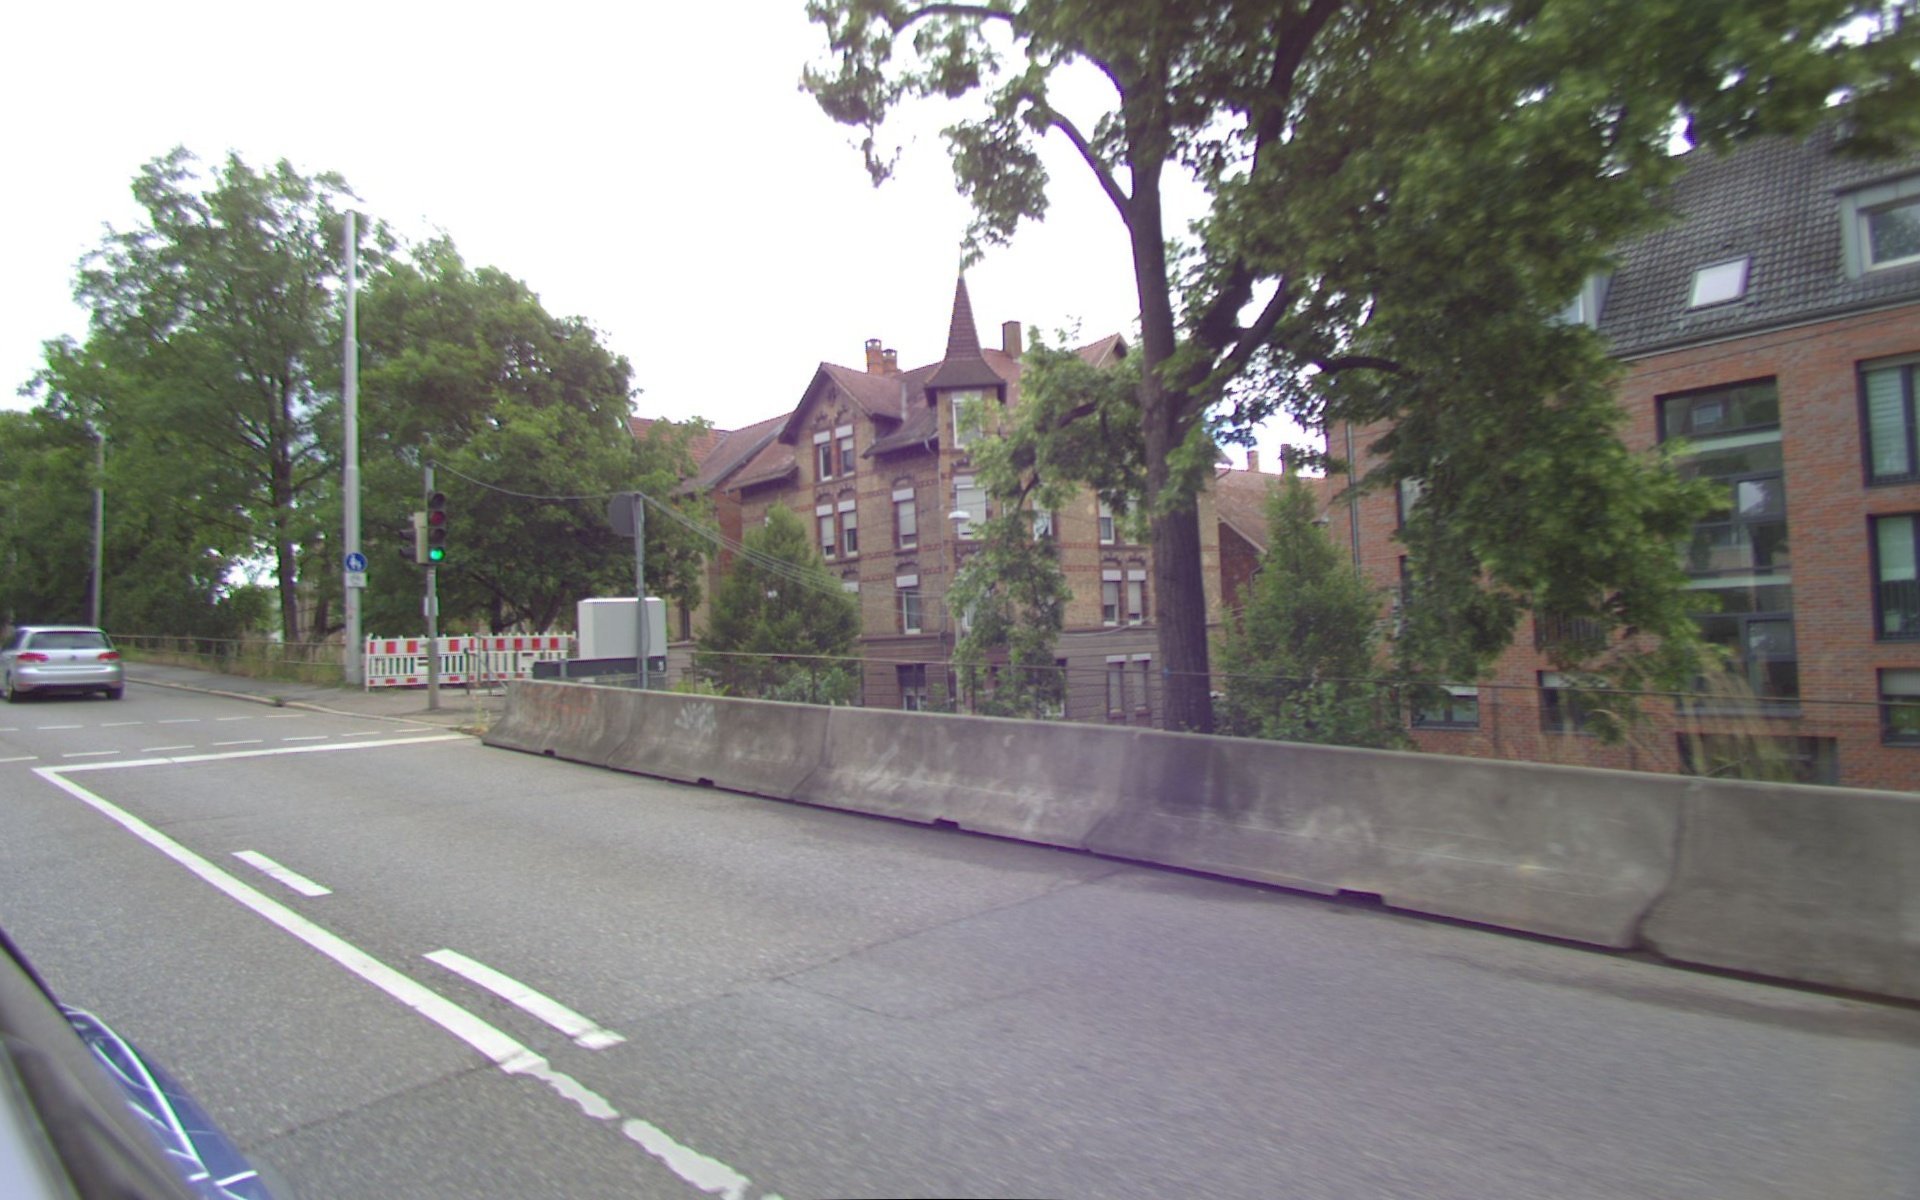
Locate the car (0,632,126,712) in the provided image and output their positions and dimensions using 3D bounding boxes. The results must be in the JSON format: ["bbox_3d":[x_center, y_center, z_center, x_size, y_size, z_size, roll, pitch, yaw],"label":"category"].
[{"bbox_3d":[-18.431,1.406,20.438,4.156,1.456,1.703,-2,-4,40],"label":"car"}]

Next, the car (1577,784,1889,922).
[{"bbox_3d":[13.232,4.232,17.503,1.772,1.522,4.004,3,-4,-42],"label":"car"}]
